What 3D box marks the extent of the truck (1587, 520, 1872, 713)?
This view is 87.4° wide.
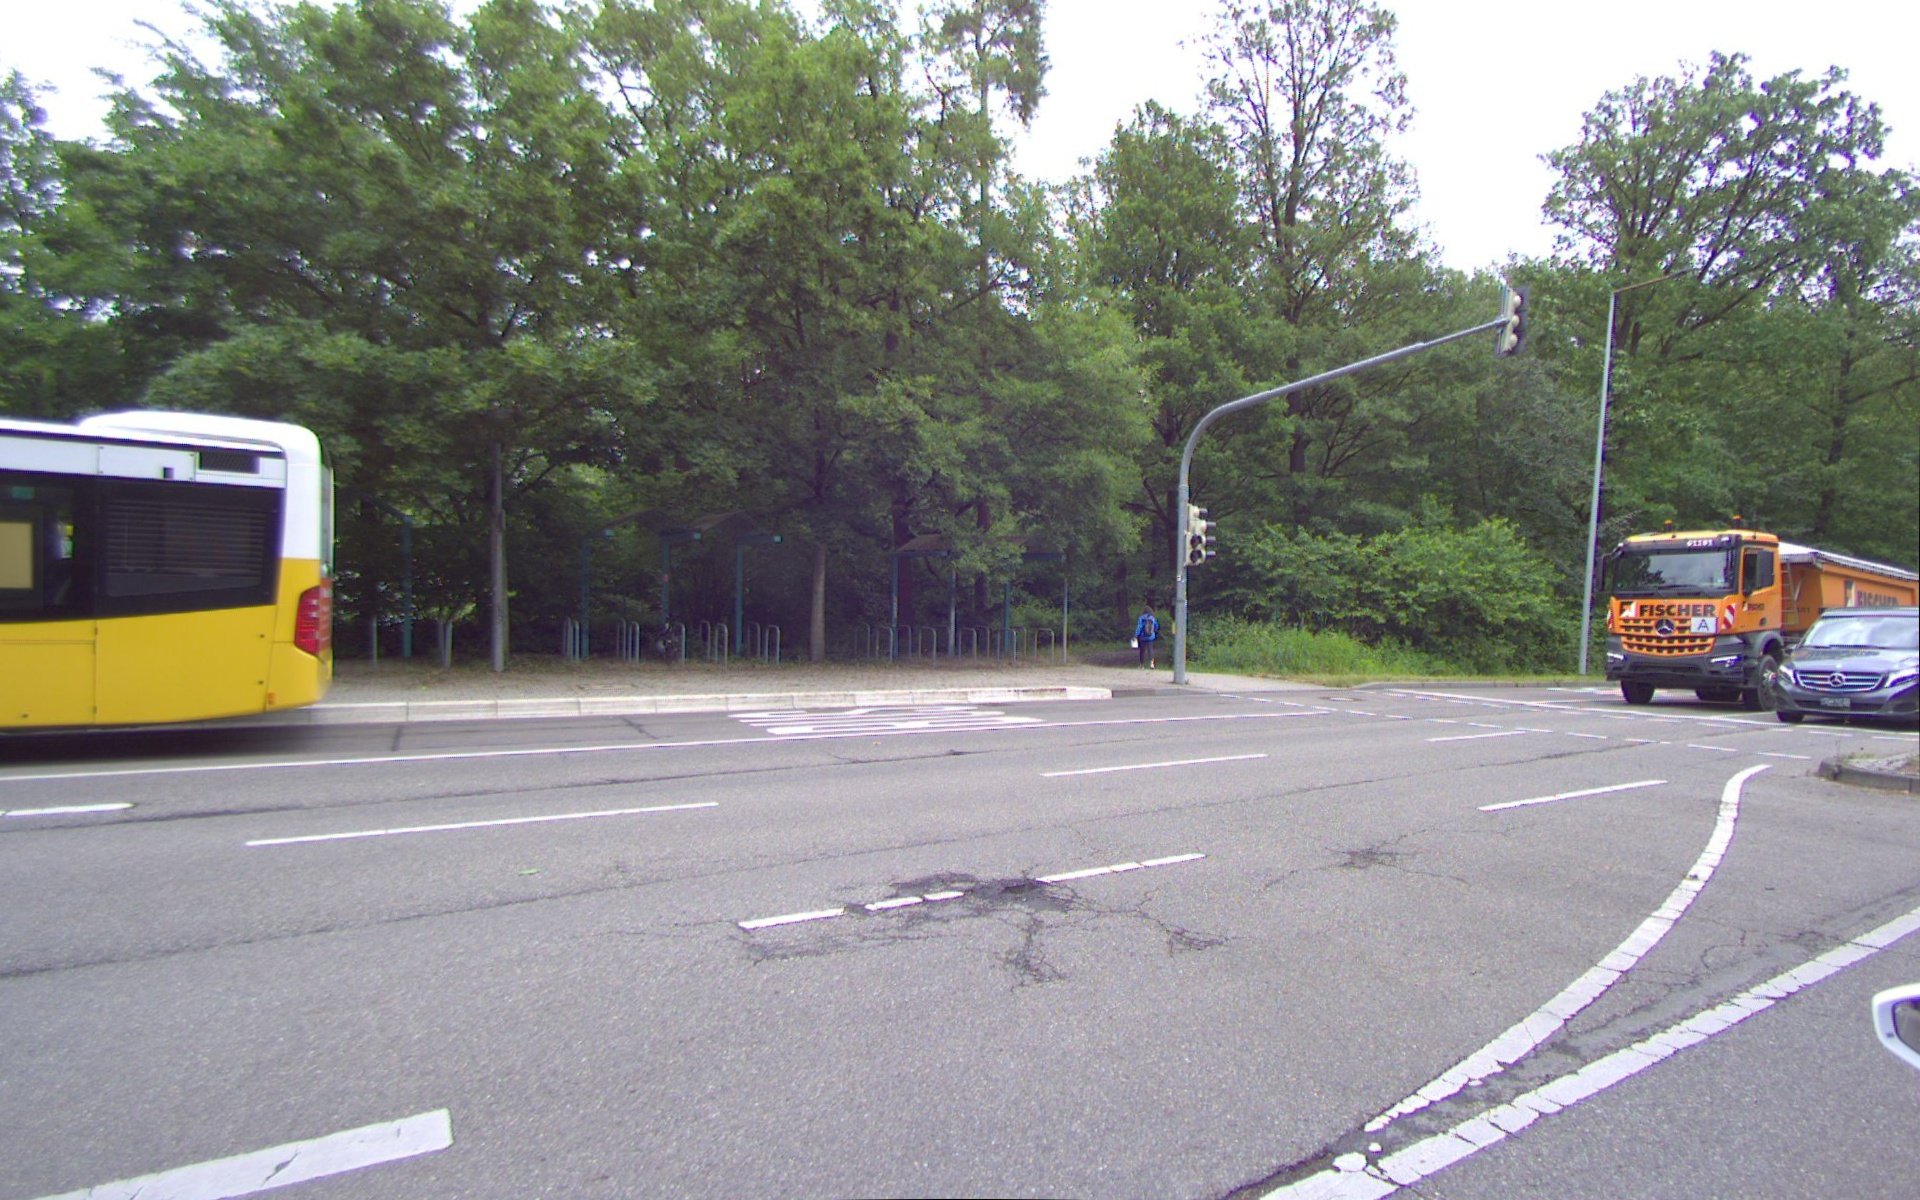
[{"bbox_3d":[16.012,0.437,20.728,7.090,3.362,2.721,3,-2,-35],"label":"truck"}]

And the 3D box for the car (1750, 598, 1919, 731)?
[{"bbox_3d":[15.230,1.026,16.670,4.789,1.918,1.981,2,-2,-34],"label":"car"}]

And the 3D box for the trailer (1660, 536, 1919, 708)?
[{"bbox_3d":[19.474,0.609,23.211,8.486,3.362,2.720,3,-2,-36],"label":"trailer"}]

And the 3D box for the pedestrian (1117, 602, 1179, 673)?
[{"bbox_3d":[4.742,0.937,25.426,1.055,1.671,1.043,0,4,-28],"label":"pedestrian"}]

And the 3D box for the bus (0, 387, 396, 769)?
[{"bbox_3d":[-9.926,-0.226,8.849,8.592,3.168,2.885,1,0,-30],"label":"bus"}]
